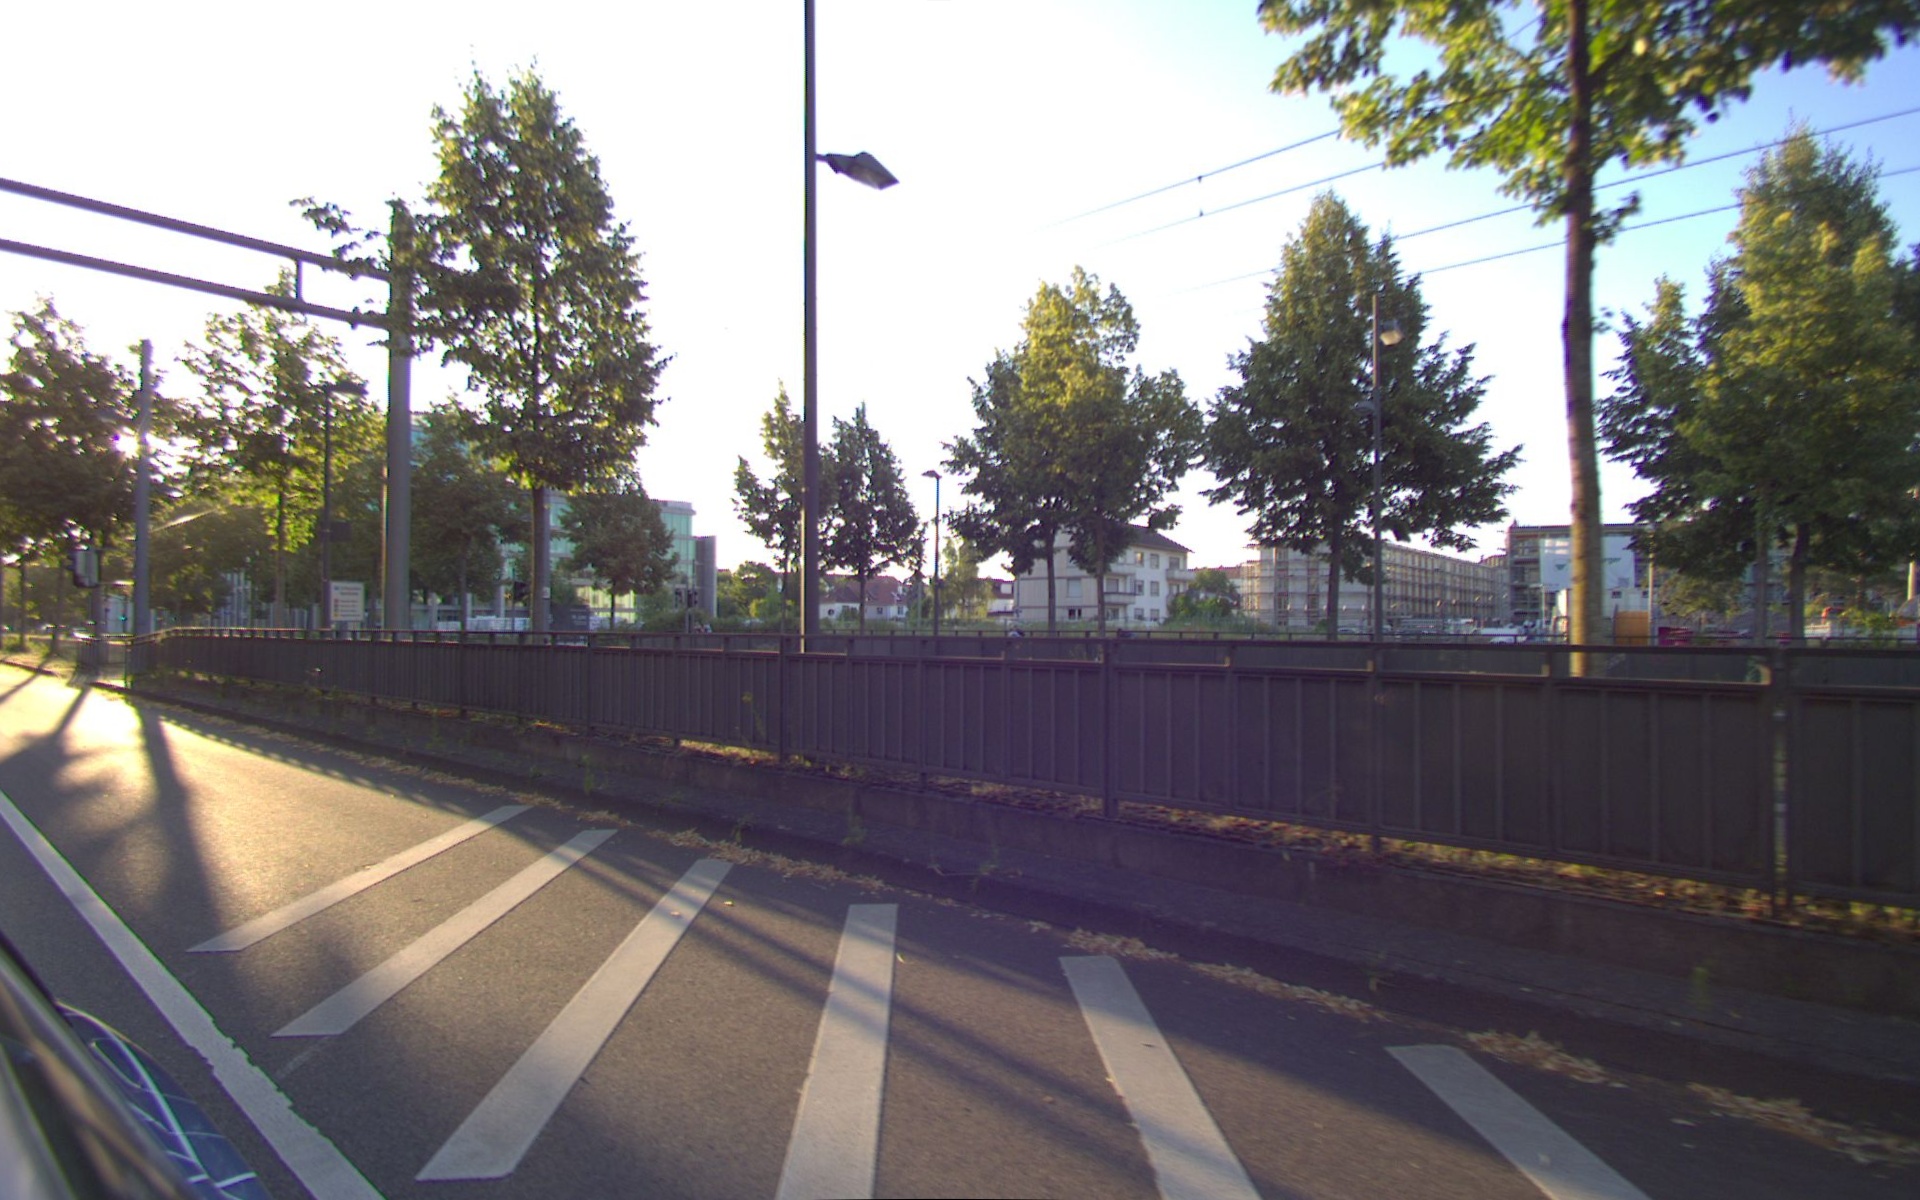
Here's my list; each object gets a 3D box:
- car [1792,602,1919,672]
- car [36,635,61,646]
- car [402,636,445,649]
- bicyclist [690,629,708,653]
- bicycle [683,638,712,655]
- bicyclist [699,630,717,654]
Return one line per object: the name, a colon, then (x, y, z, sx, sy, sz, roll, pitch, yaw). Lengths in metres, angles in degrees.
car: (31.446, 1.206, 33.167, 5.869, 2.241, 2.409, -1, -2, 18)
car: (-123.431, 5.515, 137.036, 4.627, 1.497, 1.883, -2, -3, 40)
car: (-61.415, 4.846, 115.808, 1.895, 1.457, 3.942, -2, -3, 44)
bicyclist: (-15.819, 2.465, 61.282, 0.936, 1.467, 0.613, -2, -2, 40)
bicycle: (-15.888, 2.804, 61.312, 2.081, 1.019, 0.613, -2, -2, 40)
bicyclist: (-15.438, 2.578, 61.977, 0.936, 1.467, 0.613, -2, -2, 40)
